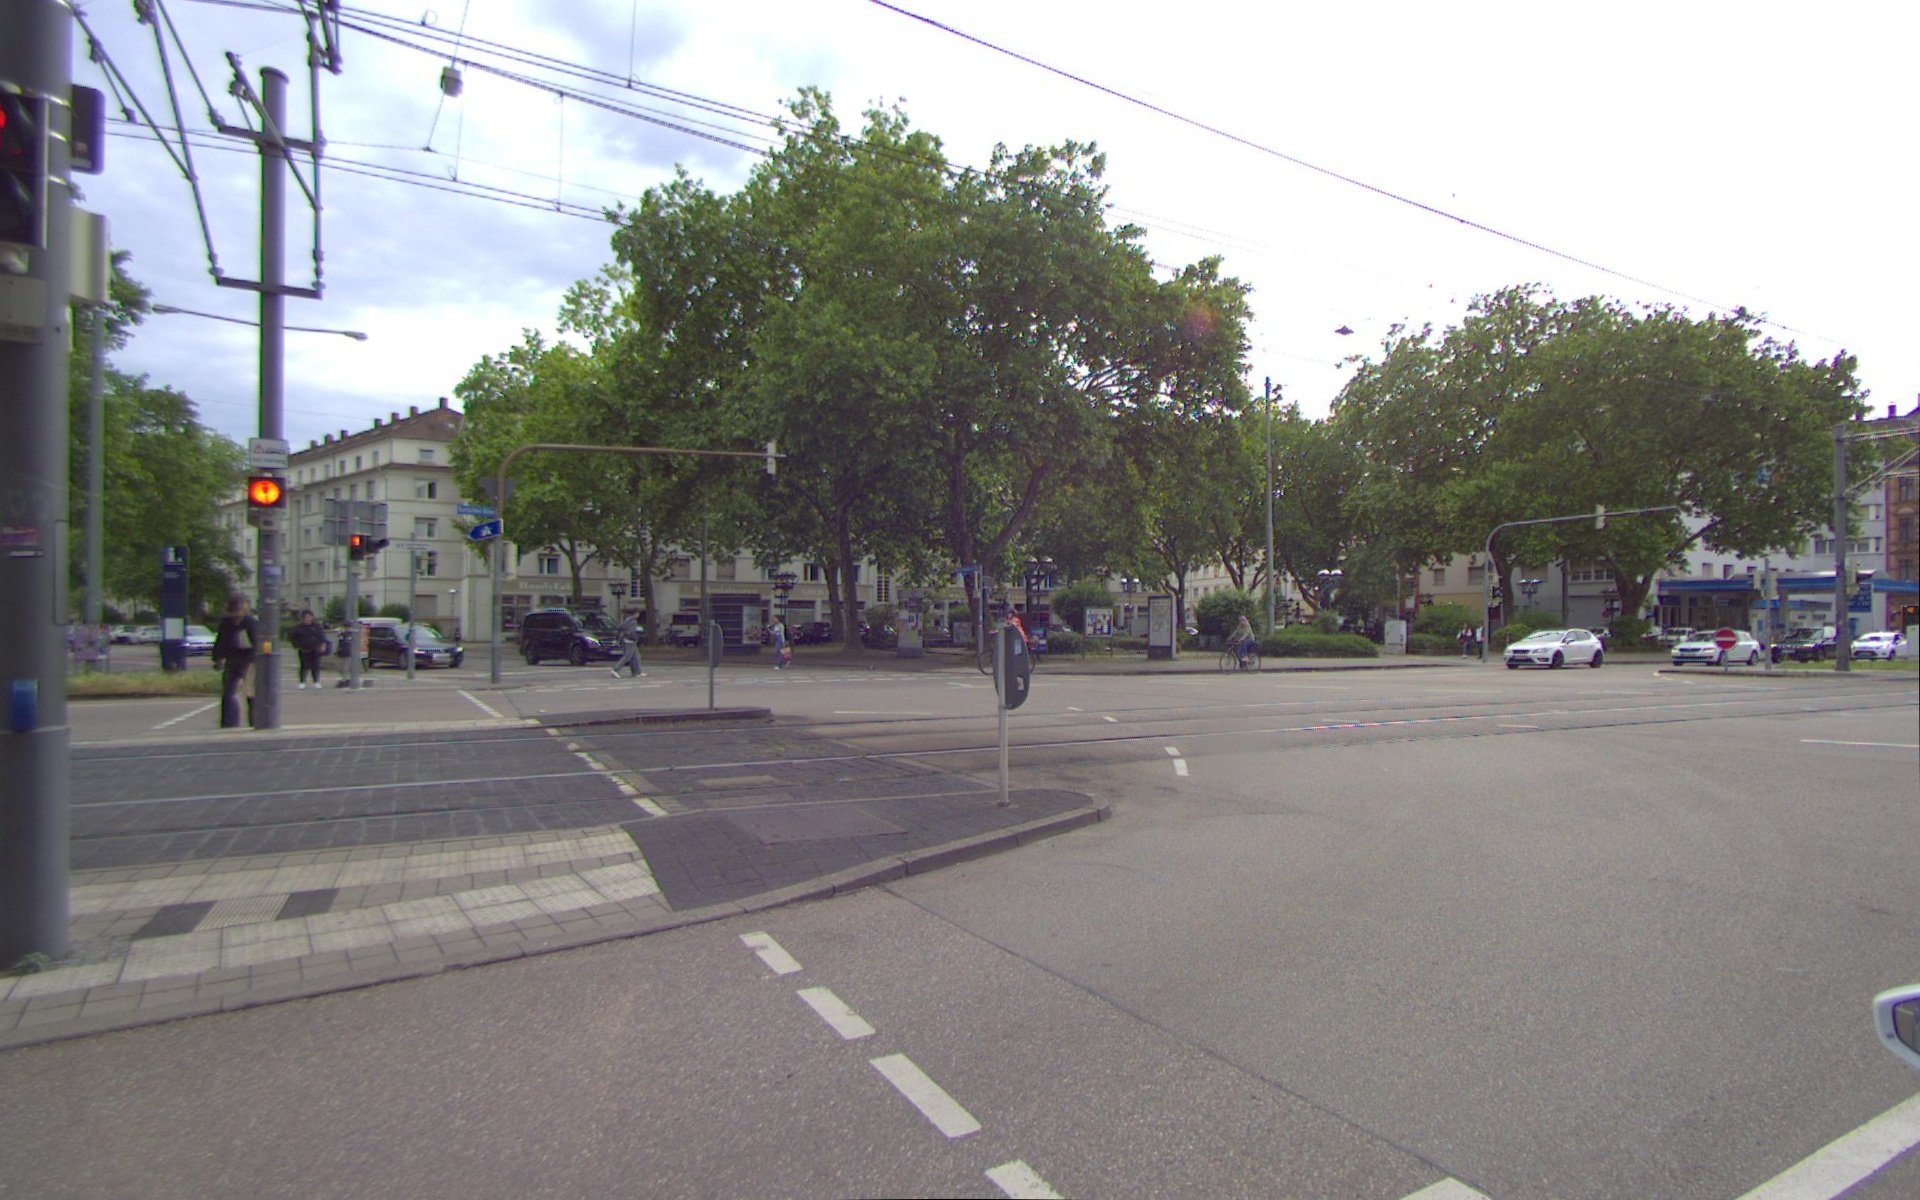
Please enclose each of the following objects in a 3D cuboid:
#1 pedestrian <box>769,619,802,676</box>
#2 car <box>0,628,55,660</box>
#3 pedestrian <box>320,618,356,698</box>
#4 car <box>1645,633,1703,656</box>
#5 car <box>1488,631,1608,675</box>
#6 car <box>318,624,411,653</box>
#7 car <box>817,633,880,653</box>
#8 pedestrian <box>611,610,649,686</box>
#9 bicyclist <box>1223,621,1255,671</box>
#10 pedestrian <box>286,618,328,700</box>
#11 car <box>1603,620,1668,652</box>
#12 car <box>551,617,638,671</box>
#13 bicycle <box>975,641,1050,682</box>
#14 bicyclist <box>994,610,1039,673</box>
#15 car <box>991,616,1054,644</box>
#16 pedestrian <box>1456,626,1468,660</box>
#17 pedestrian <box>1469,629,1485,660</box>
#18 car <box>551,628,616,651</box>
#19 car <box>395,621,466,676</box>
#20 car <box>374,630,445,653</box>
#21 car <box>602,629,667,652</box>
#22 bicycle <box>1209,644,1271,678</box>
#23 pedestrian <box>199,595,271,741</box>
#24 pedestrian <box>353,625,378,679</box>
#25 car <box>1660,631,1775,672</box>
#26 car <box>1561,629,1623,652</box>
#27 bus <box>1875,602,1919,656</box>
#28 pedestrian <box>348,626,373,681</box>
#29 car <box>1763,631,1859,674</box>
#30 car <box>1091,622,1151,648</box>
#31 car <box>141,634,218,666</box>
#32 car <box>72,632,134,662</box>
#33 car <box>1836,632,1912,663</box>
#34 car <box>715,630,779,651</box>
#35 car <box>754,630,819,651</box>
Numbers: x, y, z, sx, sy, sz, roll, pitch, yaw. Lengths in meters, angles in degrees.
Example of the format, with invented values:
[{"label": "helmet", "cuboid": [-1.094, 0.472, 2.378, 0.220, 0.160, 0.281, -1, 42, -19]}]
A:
[{"label": "pedestrian", "cuboid": [-5.363, 1.447, 30.889, 0.748, 1.712, 0.799, 1, -1, -34]}, {"label": "car", "cuboid": [-51.301, 2.381, 54.908, 3.846, 1.573, 1.993, 1, 0, 36]}, {"label": "pedestrian", "cuboid": [-13.043, 1.210, 21.067, 0.360, 1.633, 0.504, 1, 0, 28]}, {"label": "car", "cuboid": [44.584, 2.771, 62.738, 3.363, 1.377, 1.695, 1, 0, -29]}, {"label": "car", "cuboid": [21.227, 1.874, 36.225, 4.361, 1.467, 1.833, 1, 0, -30]}, {"label": "car", "cuboid": [-37.059, 2.377, 62.561, 4.788, 1.686, 1.979, 1, -2, -38]}, {"label": "car", "cuboid": [-8.113, 3.101, 72.835, 4.766, 1.408, 2.071, -1, -2, 44]}, {"label": "pedestrian", "cuboid": [-8.540, 1.220, 26.013, 0.679, 1.911, 0.685, 1, 0, 43]}, {"label": "bicyclist", "cuboid": [8.893, 1.473, 32.046, 0.748, 1.582, 0.580, 1, -3, -30]}, {"label": "pedestrian", "cuboid": [-13.410, 1.202, 20.633, 0.517, 1.633, 0.523, 1, 0, 28]}, {"label": "car", "cuboid": [43.744, 2.324, 65.075, 3.953, 2.040, 1.984, 1, -1, -30]}, {"label": "car", "cuboid": [-12.513, 1.536, 34.286, 1.894, 1.741, 3.703, 1, -4, -36]}, {"label": "bicycle", "cuboid": [1.424, 1.659, 27.305, 1.969, 1.078, 0.724, 1, -3, -31]}, {"label": "bicyclist", "cuboid": [1.529, 1.130, 27.377, 0.982, 1.659, 0.702, 1, -3, -30]}, {"label": "car", "cuboid": [4.915, 2.326, 78.943, 4.766, 2.129, 2.071, -1, -2, 44]}, {"label": "pedestrian", "cuboid": [22.499, 1.916, 45.001, 0.370, 1.498, 0.358, 1, -1, -36]}, {"label": "pedestrian", "cuboid": [22.904, 1.971, 44.498, 0.465, 1.343, 0.452, 1, -1, -36]}, {"label": "car", "cuboid": [-23.812, 2.477, 63.444, 4.766, 1.408, 1.988, -1, -2, 44]}, {"label": "car", "cuboid": [-18.004, 1.673, 34.113, 1.648, 1.741, 3.703, 1, -4, -36]}, {"label": "car", "cuboid": [-37.059, 2.776, 67.652, 3.919, 1.506, 1.804, 0, -1, 10]}, {"label": "car", "cuboid": [-20.990, 2.582, 64.688, 4.766, 1.408, 1.988, -1, -2, 44]}, {"label": "bicycle", "cuboid": [8.950, 1.941, 32.059, 1.969, 1.078, 0.724, 1, -3, -30]}, {"label": "pedestrian", "cuboid": [-9.076, 0.826, 12.599, 0.619, 1.774, 0.652, 1, 0, -28]}, {"label": "pedestrian", "cuboid": [-15.531, 1.355, 26.231, 0.384, 1.383, 0.416, 1, 0, 33]}, {"label": "car", "cuboid": [31.790, 2.107, 42.104, 5.635, 1.546, 1.832, 1, 0, -30]}, {"label": "car", "cuboid": [42.549, 2.708, 67.608, 3.953, 1.486, 1.984, 1, -1, -30]}, {"label": "bus", "cuboid": [56.500, 1.665, 56.872, 12.231, 2.894, 3.267, 1, 0, -30]}, {"label": "pedestrian", "cuboid": [-15.383, 1.365, 25.760, 0.384, 1.383, 0.416, 1, 0, 33]}, {"label": "car", "cuboid": [39.048, 2.363, 46.067, 5.087, 1.807, 1.695, 1, 0, -30]}, {"label": "car", "cuboid": [13.686, 2.978, 85.557, 4.766, 2.129, 2.071, -1, -2, 44]}, {"label": "car", "cuboid": [-37.507, 2.361, 48.263, 3.933, 1.439, 1.756, 0, -2, 34]}, {"label": "car", "cuboid": [-52.137, 2.818, 61.098, 3.934, 1.706, 1.929, -1, -2, 35]}, {"label": "car", "cuboid": [45.753, 2.358, 50.265, 3.843, 1.416, 1.695, 1, 0, -29]}, {"label": "car", "cuboid": [-14.604, 2.741, 68.656, 4.766, 1.408, 1.988, -1, -2, 44]}, {"label": "car", "cuboid": [-12.102, 2.789, 70.036, 4.766, 1.408, 2.071, -1, -2, 44]}]
